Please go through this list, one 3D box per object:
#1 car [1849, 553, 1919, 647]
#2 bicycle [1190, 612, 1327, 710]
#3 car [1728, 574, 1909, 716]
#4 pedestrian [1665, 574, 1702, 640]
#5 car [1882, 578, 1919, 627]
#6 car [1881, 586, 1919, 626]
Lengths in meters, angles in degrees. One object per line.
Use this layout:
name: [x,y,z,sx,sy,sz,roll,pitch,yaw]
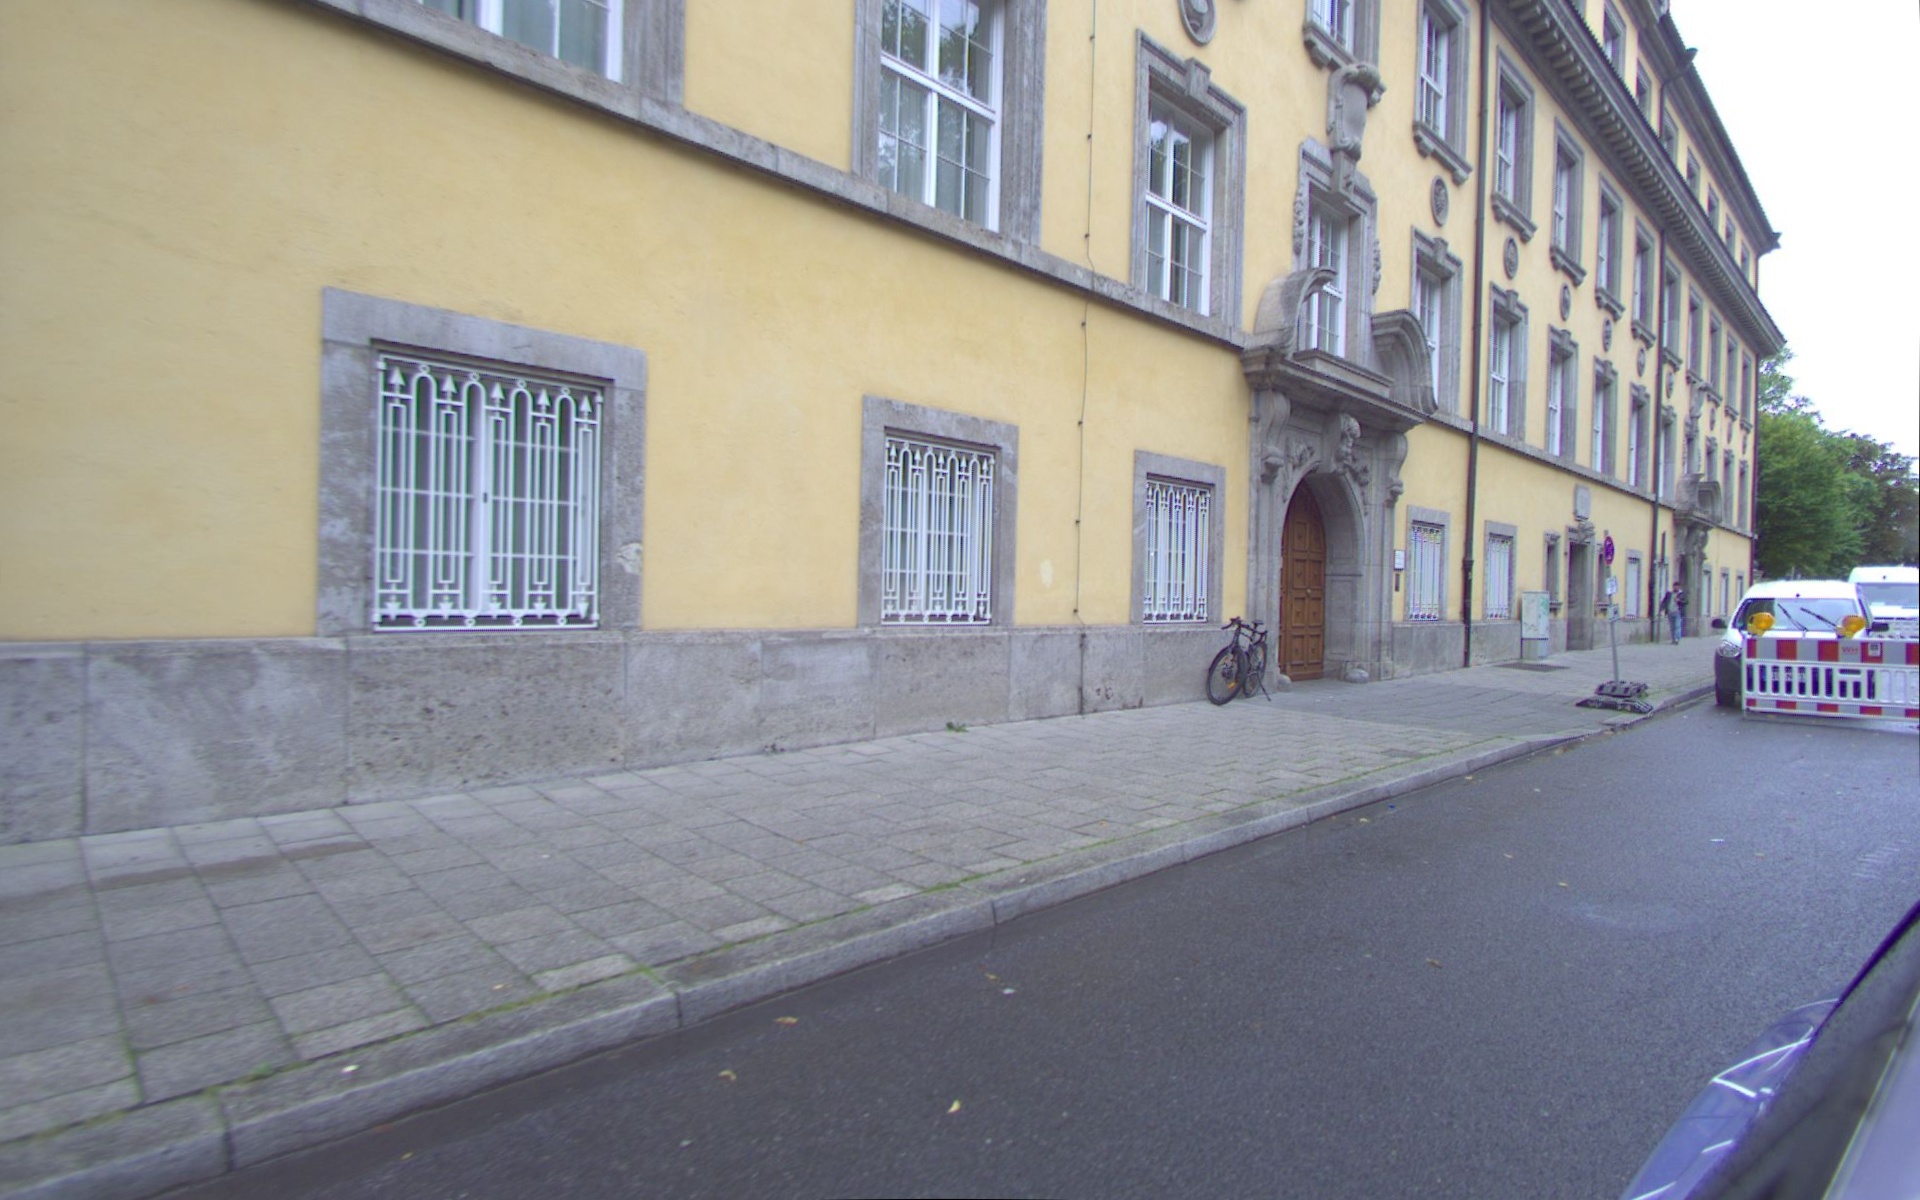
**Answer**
car: [29.632,-0.048,31.967,2.054,2.706,7.496,2,2,43]
bicycle: [3.614,0.683,12.155,2.024,1.019,0.680,-1,2,-45]
car: [12.718,0.510,14.897,1.740,1.771,4.287,2,2,44]
pedestrian: [20.742,0.193,28.999,0.701,1.826,0.573,4,4,45]
car: [52.166,0.084,55.626,2.095,2.518,5.651,2,2,43]
car: [47.316,0.264,50.434,2.012,1.930,5.086,0,0,41]
